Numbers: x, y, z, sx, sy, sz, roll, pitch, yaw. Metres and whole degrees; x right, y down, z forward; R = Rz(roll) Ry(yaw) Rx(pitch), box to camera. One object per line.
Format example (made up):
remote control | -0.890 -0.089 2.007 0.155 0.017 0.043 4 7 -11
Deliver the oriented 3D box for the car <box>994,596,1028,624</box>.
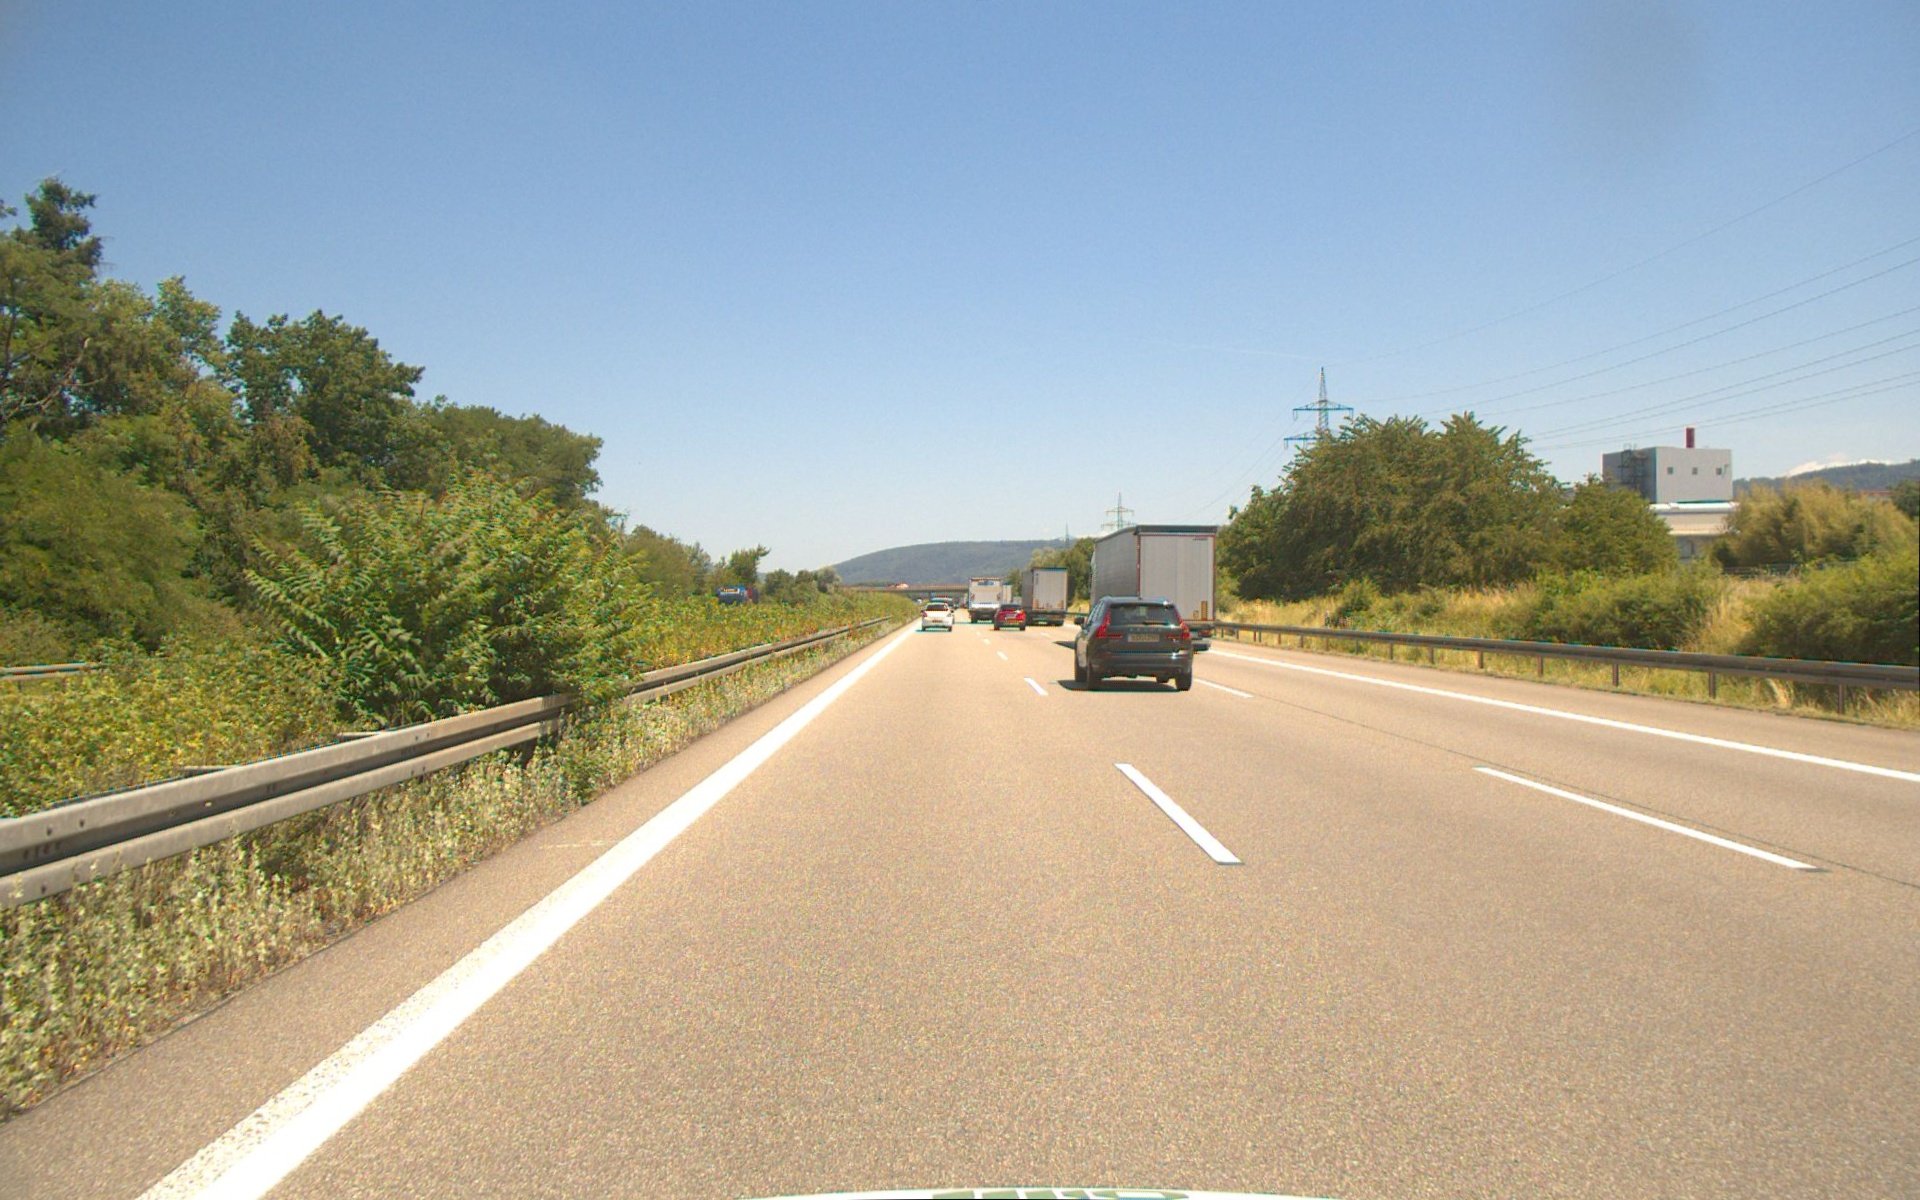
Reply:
car | 2.946 0.581 96.110 1.766 1.572 3.999 0 0 -1

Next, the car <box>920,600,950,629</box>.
car | -1.371 0.775 90.747 1.575 1.493 3.999 0 0 -1

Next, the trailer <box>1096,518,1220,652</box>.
trailer | 6.754 -0.457 58.562 2.680 4.178 13.120 0 0 -1

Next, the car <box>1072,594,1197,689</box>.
car | 3.166 0.723 30.664 1.835 1.652 4.003 0 0 -1

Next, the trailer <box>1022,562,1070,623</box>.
trailer | 6.254 -0.481 122.636 2.732 4.237 13.573 -1 0 0

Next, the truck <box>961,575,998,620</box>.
truck | 1.483 -0.166 131.174 2.726 3.432 8.126 0 0 -1

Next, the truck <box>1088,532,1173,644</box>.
truck | 6.672 -0.441 65.453 2.680 4.192 6.123 0 0 -1

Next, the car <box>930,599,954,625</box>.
car | -1.315 0.860 122.528 1.725 1.883 3.999 0 0 -1

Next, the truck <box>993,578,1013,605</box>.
truck | 5.414 -1.019 209.759 2.176 3.265 10.383 -1 0 -1

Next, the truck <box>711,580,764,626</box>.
truck | -17.934 0.263 134.084 2.731 3.492 11.979 -2 0 -1
